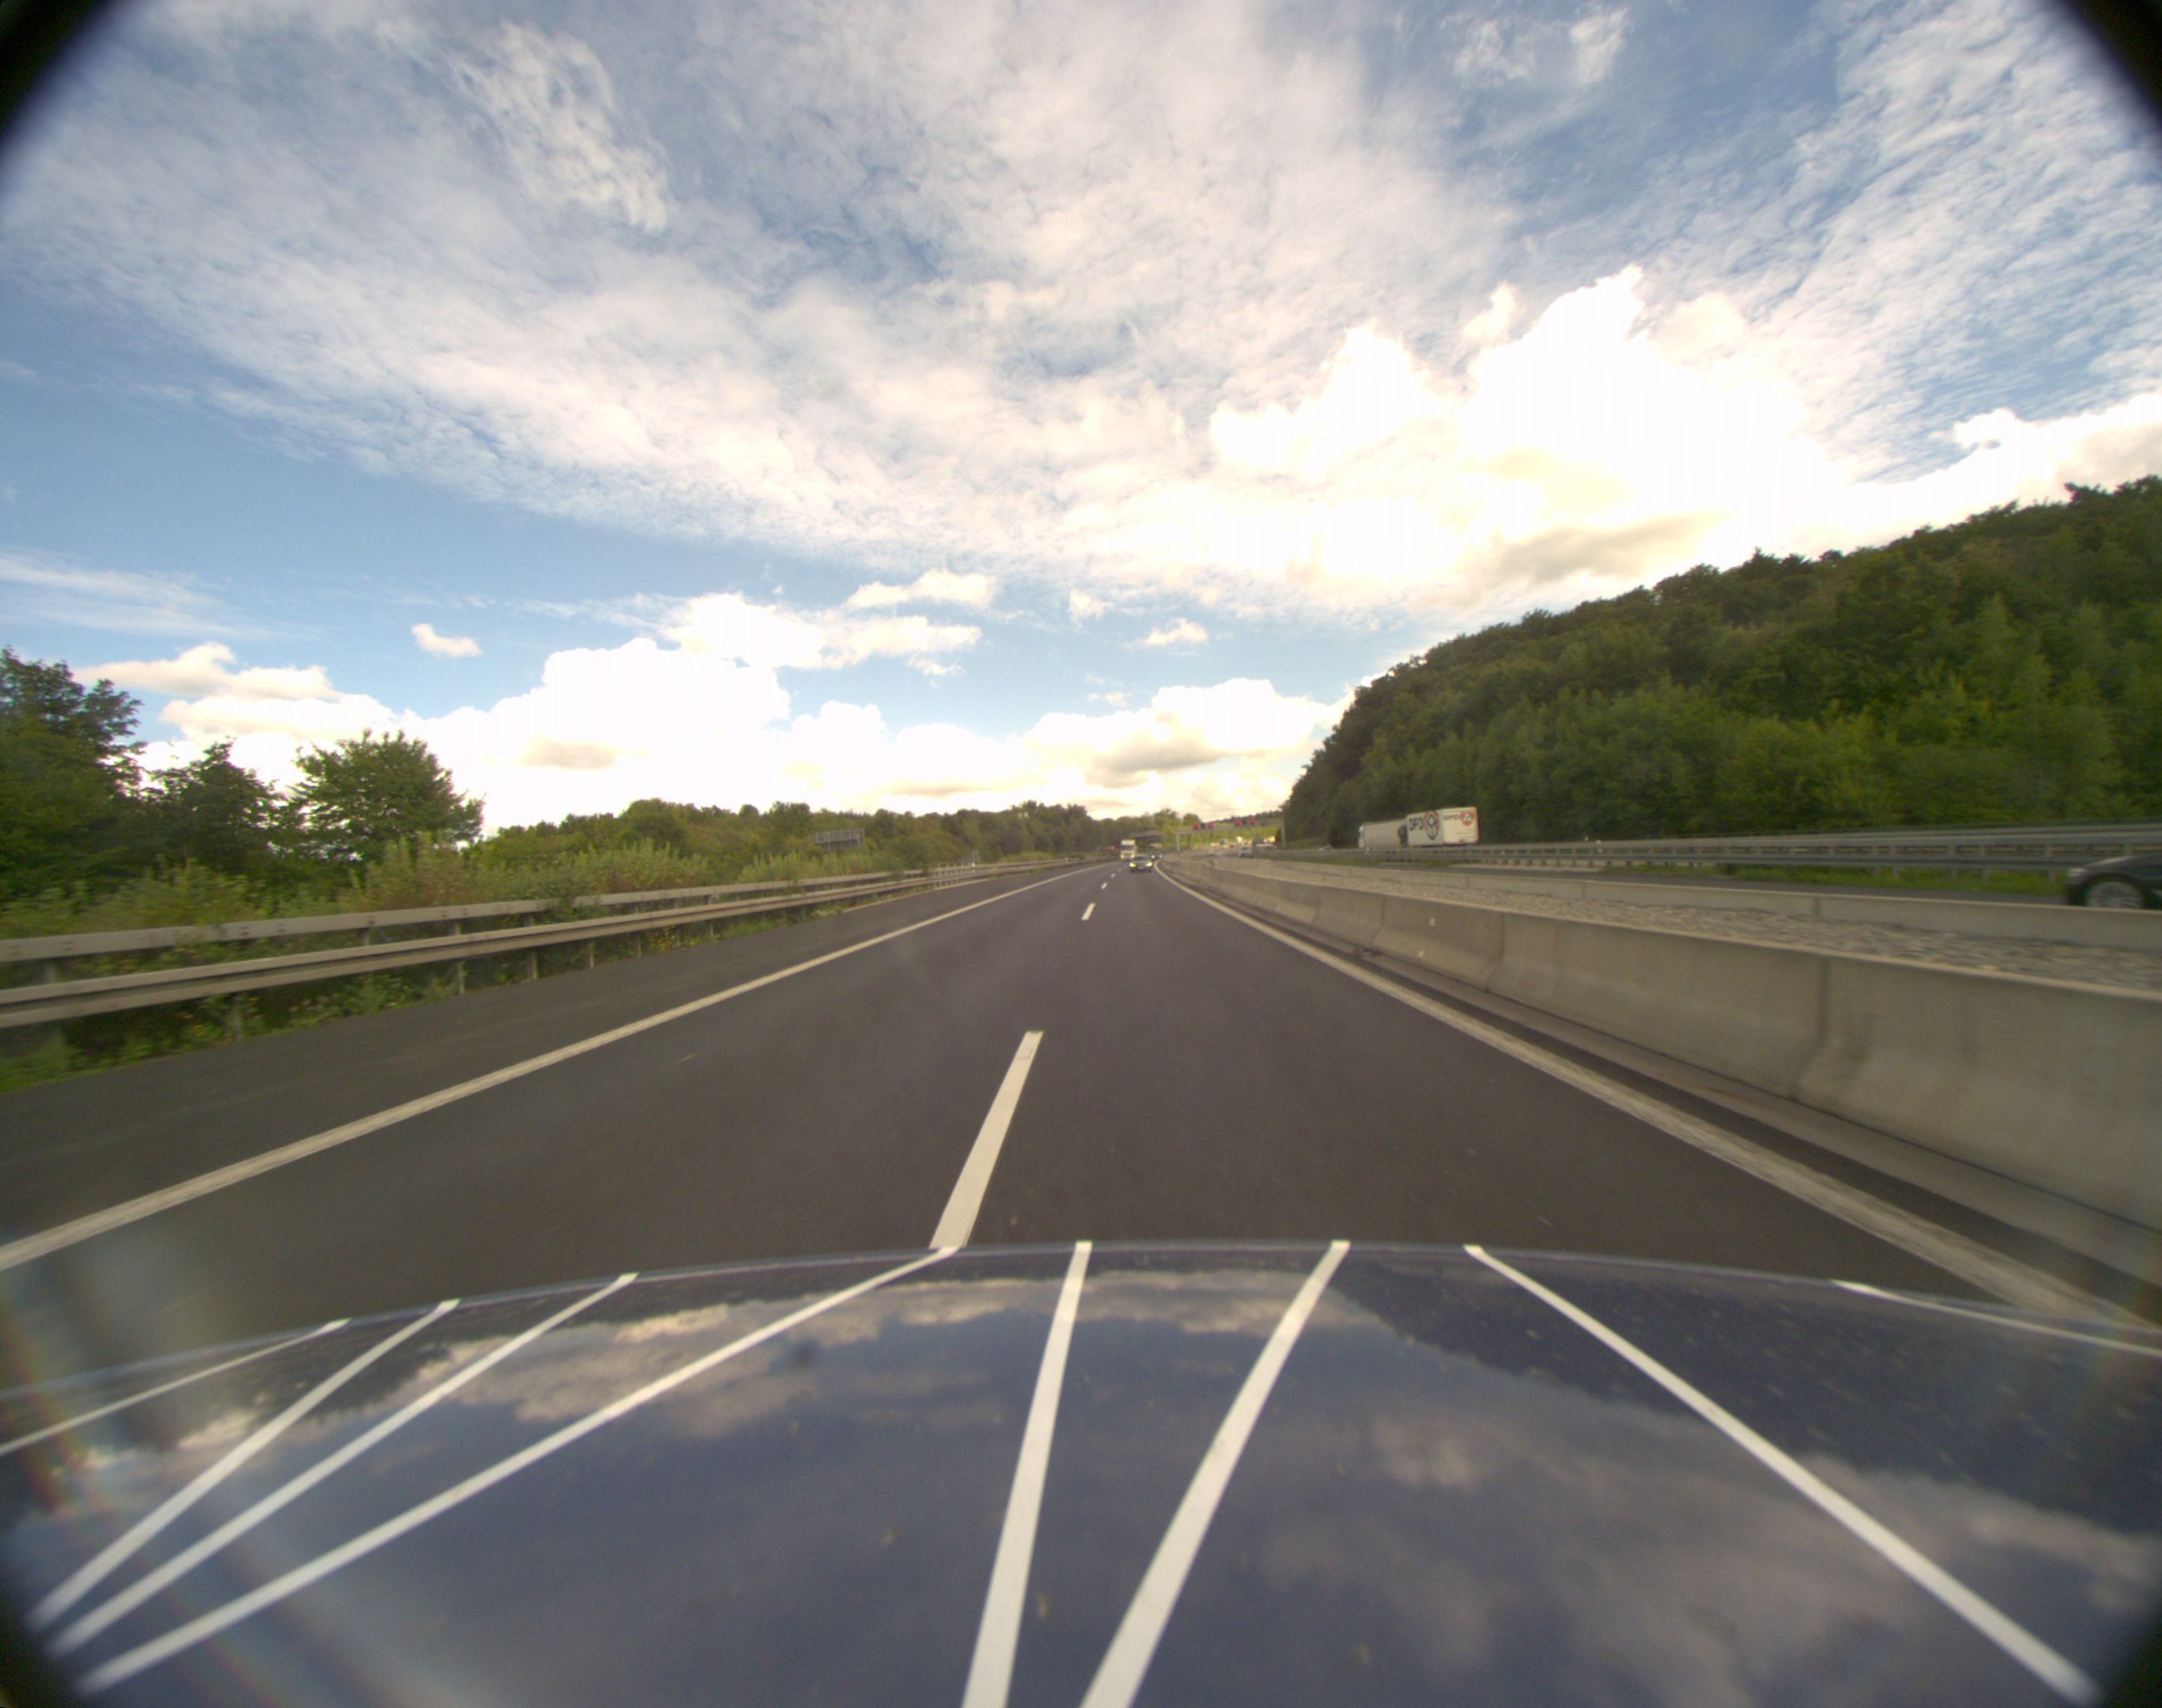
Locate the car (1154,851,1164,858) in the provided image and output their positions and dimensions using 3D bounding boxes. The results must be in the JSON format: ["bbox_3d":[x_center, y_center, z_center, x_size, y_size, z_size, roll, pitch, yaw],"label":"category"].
[{"bbox_3d":[17.377,0.100,168.658,1.997,1.464,4.002,-2,0,8],"label":"car"}]

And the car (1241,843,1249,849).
[{"bbox_3d":[52.840,-2.599,245.115,1.997,2.002,4.002,-3,0,7],"label":"car"}]

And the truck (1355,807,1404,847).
[{"bbox_3d":[34.598,-3.131,88.287,3.328,4.268,6.748,-2,2,4],"label":"truck"}]

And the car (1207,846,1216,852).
[{"bbox_3d":[32.880,-1.239,191.621,1.716,1.519,4.767,-2,2,5],"label":"car"}]

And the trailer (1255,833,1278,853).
[{"bbox_3d":[37.729,-2.257,154.976,2.819,3.785,12.192,-3,0,5],"label":"trailer"}]

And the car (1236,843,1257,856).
[{"bbox_3d":[21.481,-0.632,98.692,1.879,1.439,5.122,-2,2,4],"label":"car"}]

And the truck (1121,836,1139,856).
[{"bbox_3d":[9.602,-1.641,147.189,2.795,3.563,11.461,-2,2,7],"label":"truck"}]

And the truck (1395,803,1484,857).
[{"bbox_3d":[29.260,-1.953,62.675,2.908,3.946,10.464,-2,2,3],"label":"truck"}]

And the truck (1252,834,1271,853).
[{"bbox_3d":[38.418,-2.311,161.938,2.815,3.804,7.132,-3,0,6],"label":"truck"}]

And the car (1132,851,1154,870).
[{"bbox_3d":[5.344,0.508,64.988,1.662,1.464,4.001,-2,1,6],"label":"car"}]

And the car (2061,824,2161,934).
[{"bbox_3d":[14.885,0.297,8.361,1.998,1.394,4.813,-2,0,1],"label":"car"}]

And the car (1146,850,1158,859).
[{"bbox_3d":[12.623,0.138,135.511,1.997,1.464,4.002,-2,0,6],"label":"car"}]

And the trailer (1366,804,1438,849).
[{"bbox_3d":[34.033,-2.911,81.266,3.328,4.268,12.141,-2,2,4],"label":"trailer"}]
